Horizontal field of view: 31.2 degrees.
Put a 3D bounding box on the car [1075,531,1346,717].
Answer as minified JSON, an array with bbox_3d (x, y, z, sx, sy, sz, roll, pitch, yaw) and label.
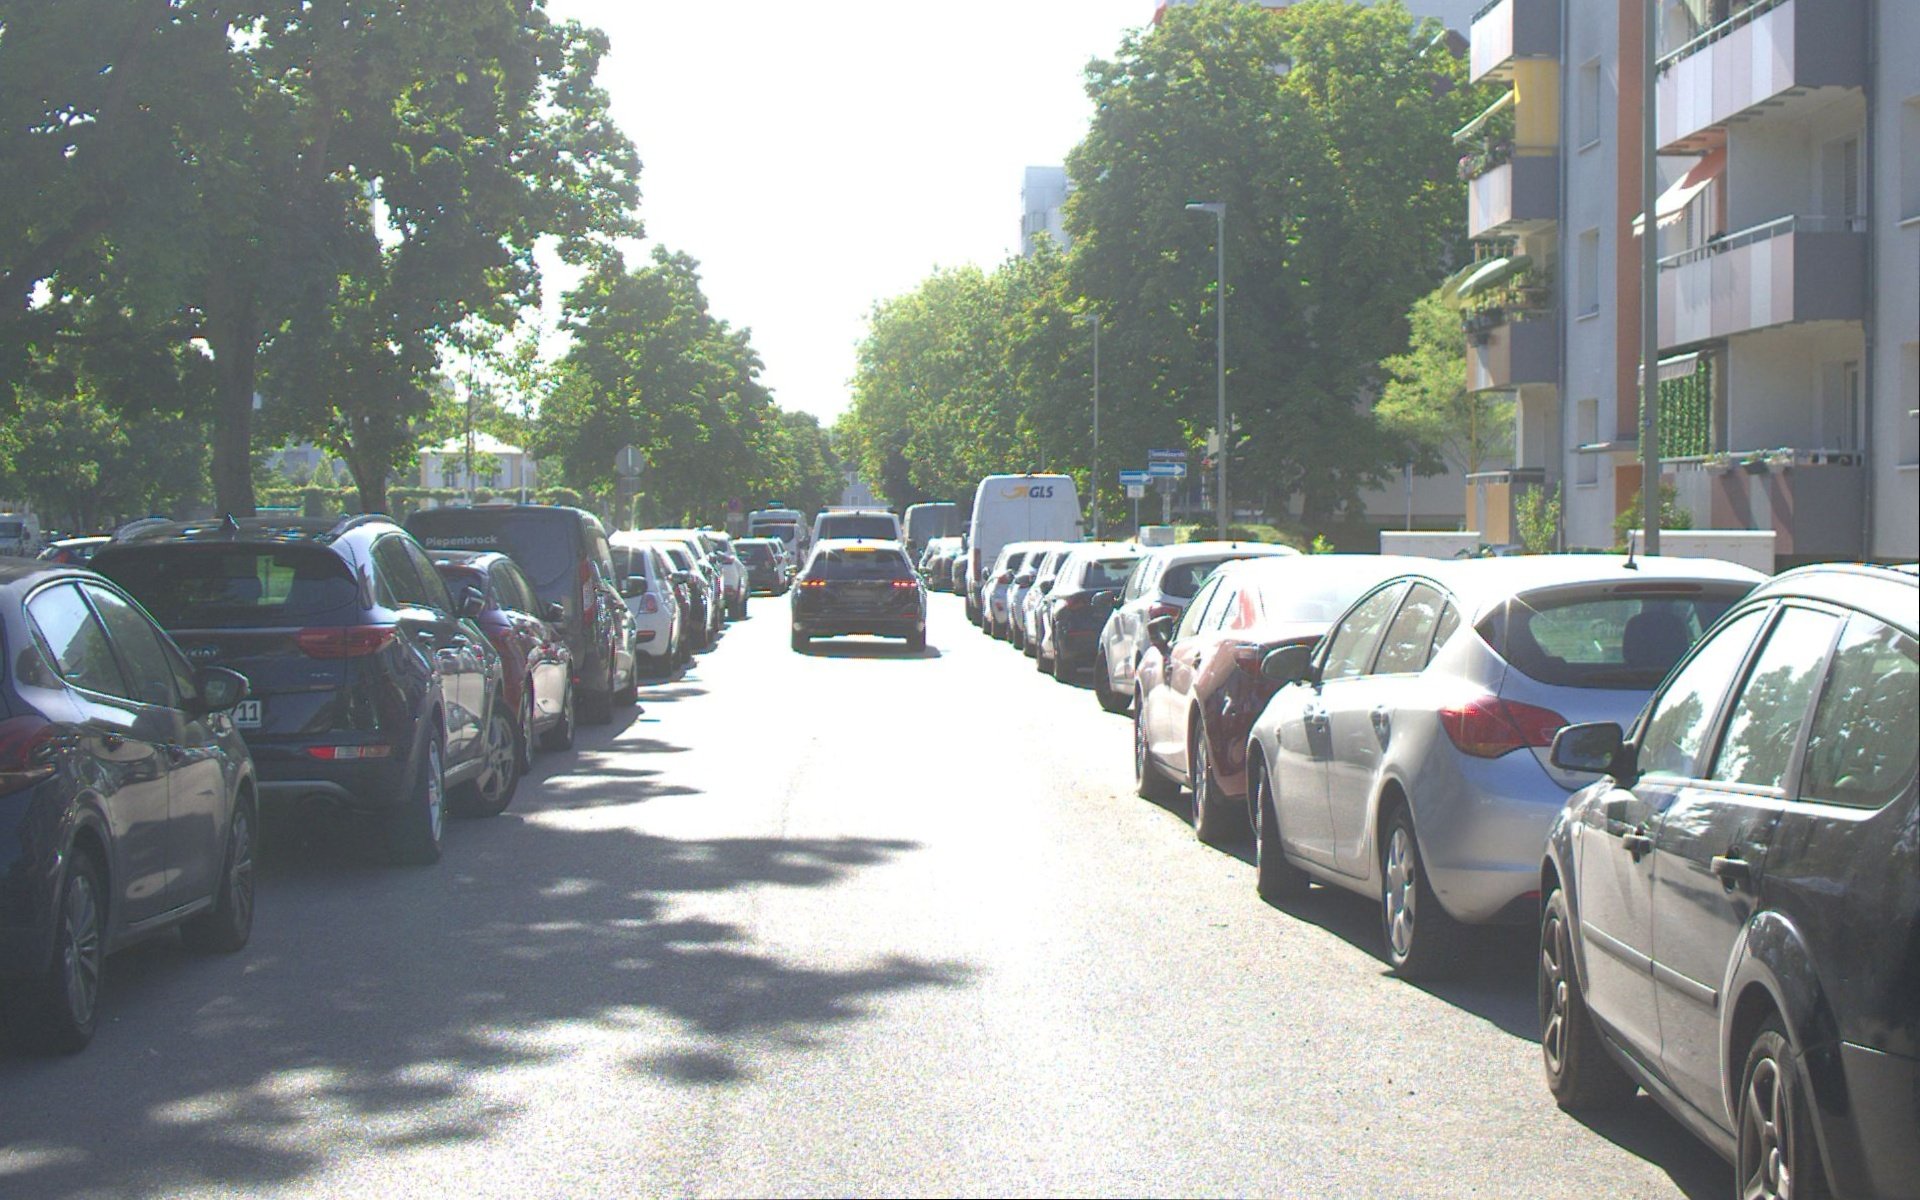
[{"bbox_3d":[2.105,0.155,29.866,1.747,1.494,3.862,0,1,-5],"label":"car"}]

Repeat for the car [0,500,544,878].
[{"bbox_3d":[-3.395,0.340,17.399,2.026,1.620,4.757,-1,1,-1],"label":"car"}]

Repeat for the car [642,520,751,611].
[{"bbox_3d":[-5.009,-0.686,65.785,1.756,1.641,4.287,-1,1,-1],"label":"car"}]

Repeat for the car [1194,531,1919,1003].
[{"bbox_3d":[2.213,0.506,13.547,1.873,1.528,4.494,0,1,-5],"label":"car"}]

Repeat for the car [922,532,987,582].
[{"bbox_3d":[-0.180,-1.245,97.641,1.779,1.366,4.127,0,1,-1],"label":"car"}]

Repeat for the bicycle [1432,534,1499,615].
[{"bbox_3d":[7.497,-0.371,51.031,0.595,1.172,2.014,0,0,-3],"label":"bicycle"}]

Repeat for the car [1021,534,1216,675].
[{"bbox_3d":[1.712,0.003,38.440,1.699,1.430,4.472,-1,1,-3],"label":"car"}]

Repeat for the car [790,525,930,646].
[{"bbox_3d":[-1.315,-0.231,46.428,1.779,1.526,4.000,1,1,-1],"label":"car"}]

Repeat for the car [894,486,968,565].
[{"bbox_3d":[-1.037,-2.577,119.154,2.162,2.680,5.417,0,1,-5],"label":"car"}]

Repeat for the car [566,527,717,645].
[{"bbox_3d":[-4.407,-0.239,48.159,1.873,1.514,4.471,-2,1,-3],"label":"car"}]

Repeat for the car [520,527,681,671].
[{"bbox_3d":[-3.991,-0.051,38.553,1.586,1.487,3.686,-1,1,-3],"label":"car"}]

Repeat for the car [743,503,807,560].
[{"bbox_3d":[-6.363,-2.371,118.522,2.098,1.936,4.127,0,1,-2],"label":"car"}]

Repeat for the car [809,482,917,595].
[{"bbox_3d":[-1.772,-1.157,64.120,1.894,1.984,4.010,-1,1,-1],"label":"car"}]

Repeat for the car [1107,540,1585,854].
[{"bbox_3d":[1.952,0.420,18.930,1.843,1.467,5.066,0,1,-2],"label":"car"}]

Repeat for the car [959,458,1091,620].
[{"bbox_3d":[1.105,-1.114,61.882,2.142,2.703,6.842,-1,1,0],"label":"car"}]

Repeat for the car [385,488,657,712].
[{"bbox_3d":[-3.696,-0.025,29.739,1.864,1.778,4.992,0,1,-2],"label":"car"}]

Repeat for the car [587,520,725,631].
[{"bbox_3d":[-4.661,-0.413,53.183,1.819,1.604,4.739,-1,1,-2],"label":"car"}]

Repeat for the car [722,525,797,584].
[{"bbox_3d":[-5.370,-1.212,92.357,1.777,1.490,3.875,-2,1,-1],"label":"car"}]

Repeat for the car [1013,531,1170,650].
[{"bbox_3d":[1.635,-0.155,43.870,1.721,1.430,4.153,0,1,-2],"label":"car"}]

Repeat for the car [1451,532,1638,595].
[{"bbox_3d":[13.282,-0.837,78.245,3.886,1.424,1.659,0,1,-5],"label":"car"}]

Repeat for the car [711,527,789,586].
[{"bbox_3d":[-5.341,-1.104,87.836,1.748,1.420,3.916,-2,1,-1],"label":"car"}]

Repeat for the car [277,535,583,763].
[{"bbox_3d":[-3.555,0.268,23.666,1.538,1.423,4.088,0,1,-1],"label":"car"}]

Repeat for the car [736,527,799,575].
[{"bbox_3d":[-6.148,-1.592,110.070,1.833,1.495,4.127,0,1,-1],"label":"car"}]

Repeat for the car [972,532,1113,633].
[{"bbox_3d":[1.245,-0.306,53.926,1.848,1.461,4.203,1,1,-3],"label":"car"}]

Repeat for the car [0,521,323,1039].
[{"bbox_3d":[-3.361,0.486,11.289,1.880,1.414,3.804,-1,0,-1],"label":"car"}]

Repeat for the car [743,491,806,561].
[{"bbox_3d":[-6.728,-2.682,124.922,2.098,2.487,4.127,0,1,-1],"label":"car"}]

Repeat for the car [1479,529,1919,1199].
[{"bbox_3d":[2.376,0.617,7.408,1.769,1.524,4.558,0,1,-1],"label":"car"}]

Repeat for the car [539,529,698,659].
[{"bbox_3d":[-4.215,-0.122,42.993,1.755,1.487,4.669,-1,1,-3],"label":"car"}]

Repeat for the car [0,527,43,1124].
[{"bbox_3d":[-3.282,0.636,6.598,1.993,1.511,5.159,-1,1,-4],"label":"car"}]

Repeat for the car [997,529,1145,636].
[{"bbox_3d":[1.545,-0.284,49.245,1.878,1.470,4.141,0,1,-1],"label":"car"}]

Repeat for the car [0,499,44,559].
[{"bbox_3d":[-43.560,-3.268,157.879,1.915,2.734,5.626,0,1,-4],"label":"car"}]
